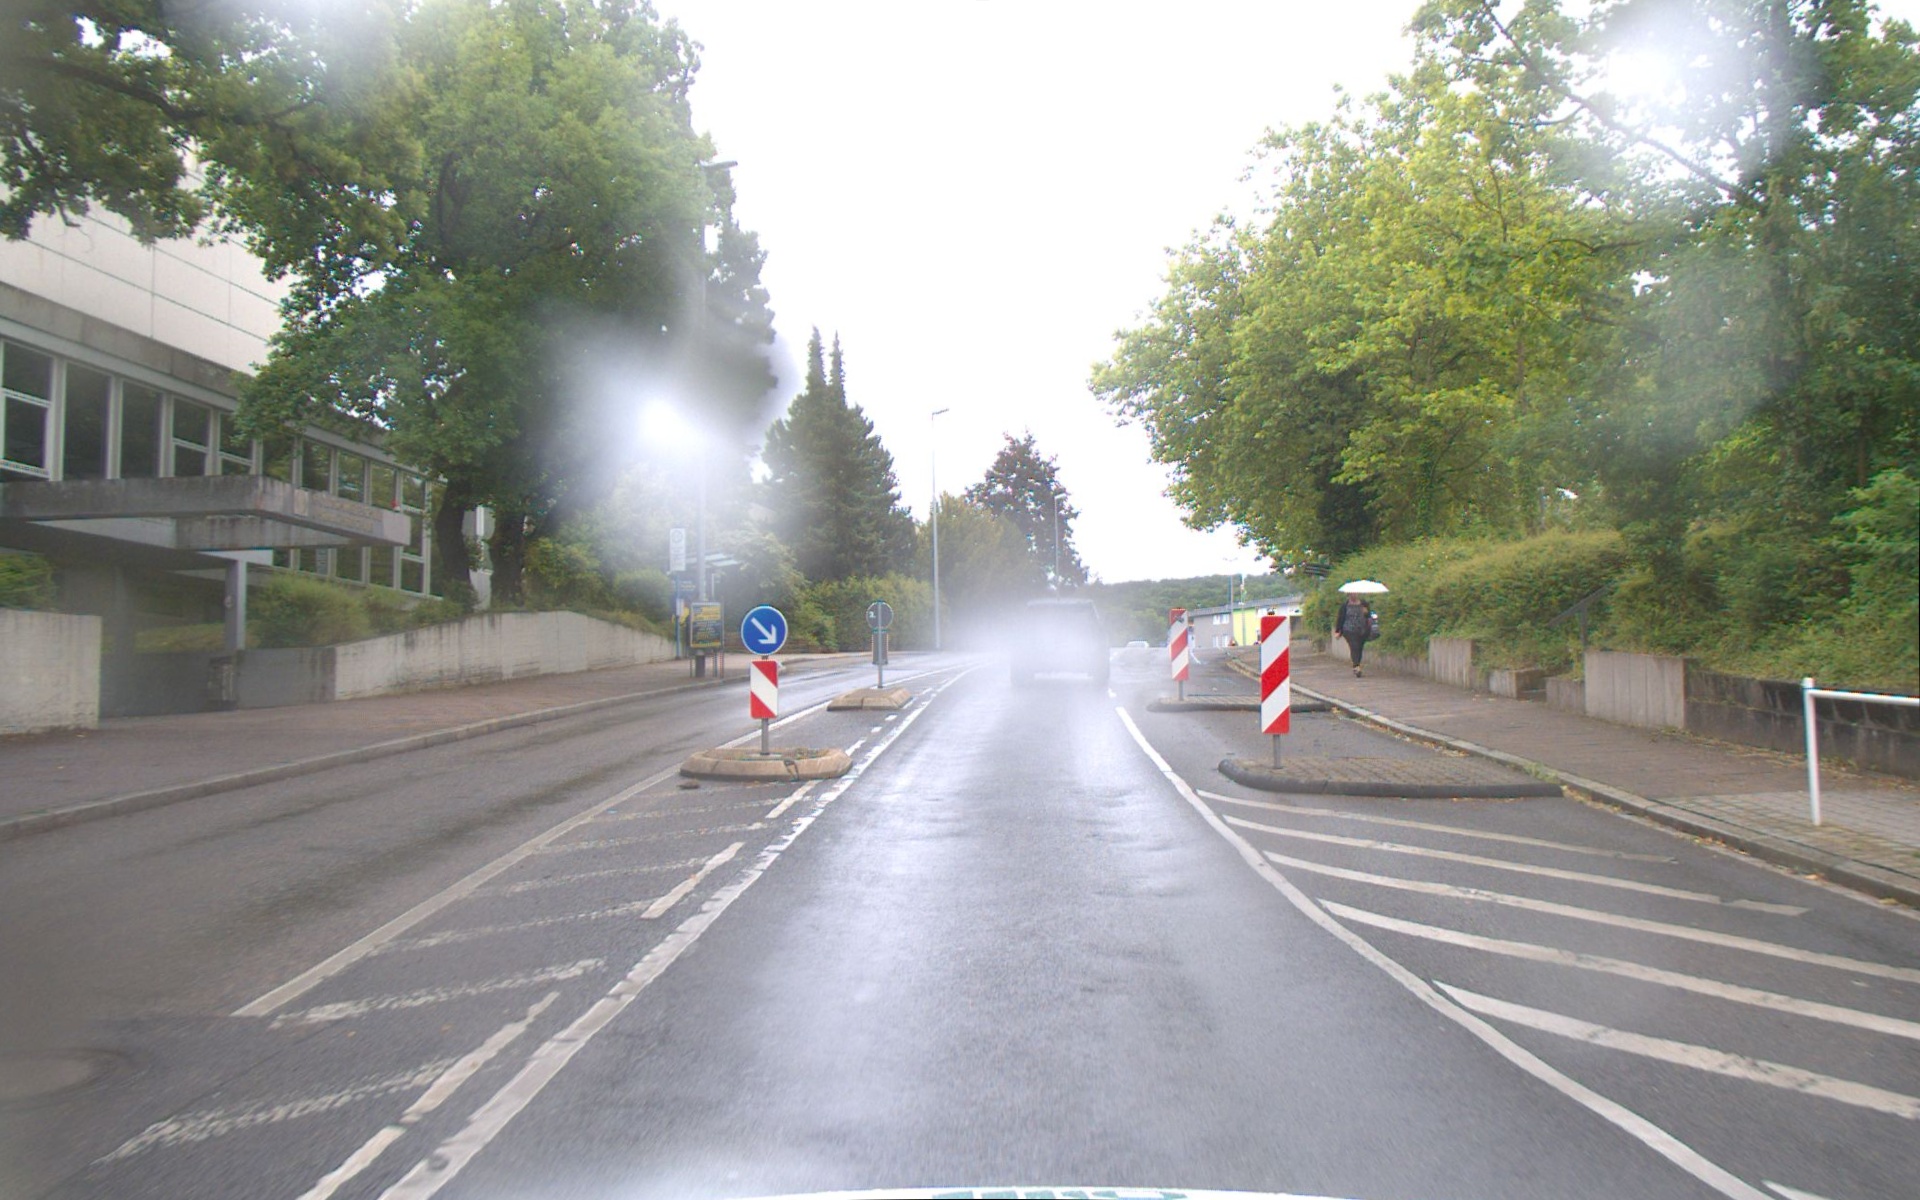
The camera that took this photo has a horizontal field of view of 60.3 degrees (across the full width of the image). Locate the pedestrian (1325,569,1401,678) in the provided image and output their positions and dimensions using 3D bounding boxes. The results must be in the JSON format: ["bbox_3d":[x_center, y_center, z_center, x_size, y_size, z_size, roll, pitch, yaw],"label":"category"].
[{"bbox_3d":[7.321,0.442,30.078,1.030,1.927,1.132,-1,-3,-3],"label":"pedestrian"}]

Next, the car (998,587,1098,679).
[{"bbox_3d":[1.643,0.582,32.095,1.753,1.631,4.254,-1,0,1],"label":"car"}]
